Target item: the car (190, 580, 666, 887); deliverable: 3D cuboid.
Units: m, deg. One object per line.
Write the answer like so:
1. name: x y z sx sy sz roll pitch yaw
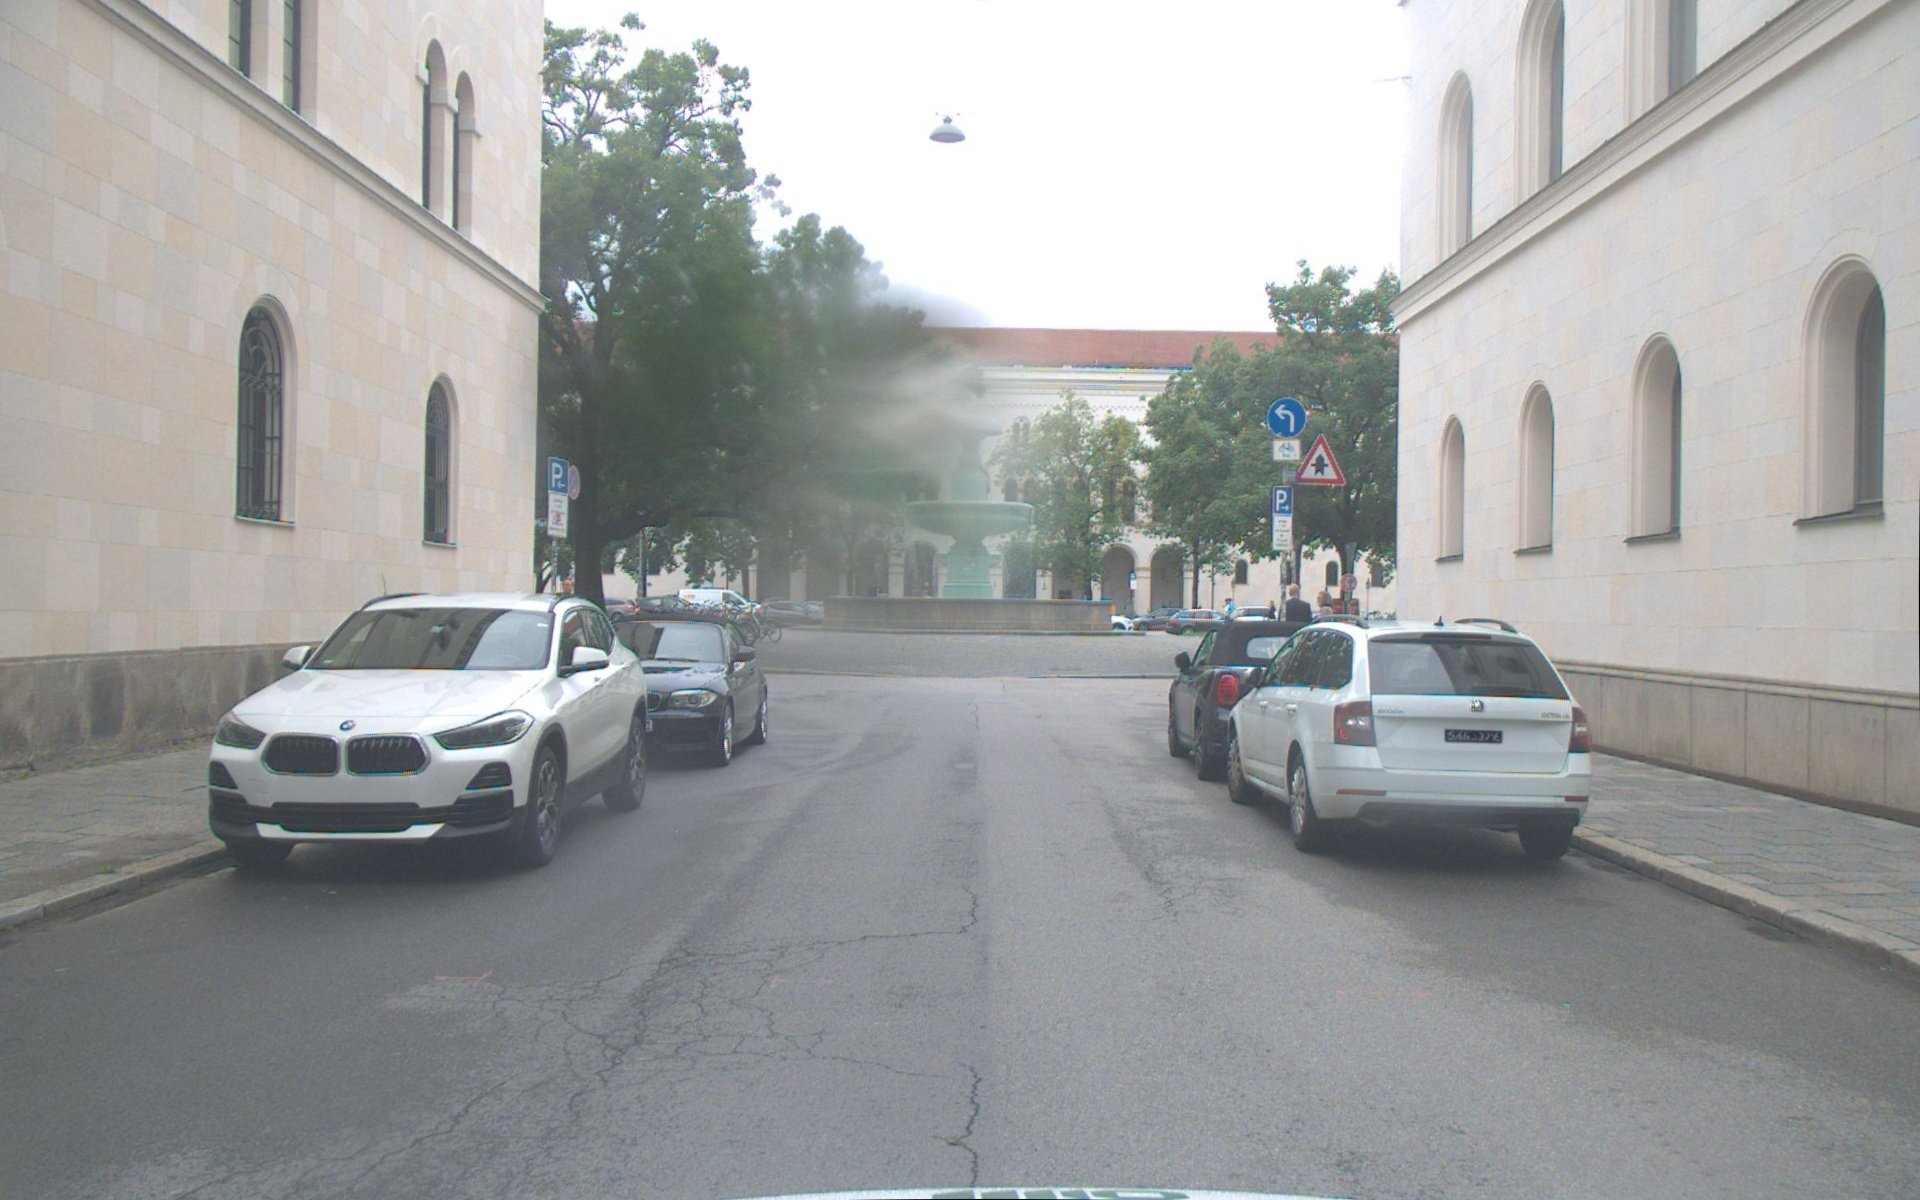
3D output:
1. car: -3.135 0.712 10.687 1.742 1.562 4.211 -1 -1 -1

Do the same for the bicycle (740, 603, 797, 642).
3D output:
1. bicycle: -5.743 0.657 49.645 1.584 1.118 0.617 1 0 11

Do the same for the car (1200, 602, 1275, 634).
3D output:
1. car: 16.295 1.070 97.245 4.015 1.771 1.745 1 0 -3

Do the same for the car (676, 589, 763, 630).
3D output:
1. car: -12.587 0.482 86.678 4.237 2.049 1.824 1 0 1

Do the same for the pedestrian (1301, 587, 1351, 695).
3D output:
1. pedestrian: 5.933 0.658 26.835 0.608 1.711 0.545 2 0 -6

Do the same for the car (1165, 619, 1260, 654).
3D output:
1. car: 12.052 1.739 79.146 4.267 1.551 1.804 0 0 2

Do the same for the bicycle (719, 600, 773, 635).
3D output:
1. bicycle: -6.667 0.541 51.535 1.503 1.037 0.699 1 0 11

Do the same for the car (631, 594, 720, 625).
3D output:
1. car: -13.584 0.442 79.078 3.906 1.400 2.000 0 0 -1

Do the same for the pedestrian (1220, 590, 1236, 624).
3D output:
1. pedestrian: 11.759 0.312 72.464 0.570 1.491 0.548 0 0 24

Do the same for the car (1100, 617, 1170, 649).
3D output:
1. car: 10.288 1.946 97.423 3.906 1.780 1.808 1 0 -1

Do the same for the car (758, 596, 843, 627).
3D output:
1. car: -7.627 0.548 79.263 3.906 1.400 2.000 0 0 -1

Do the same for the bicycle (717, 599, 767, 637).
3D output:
1. bicycle: -6.689 0.549 50.814 1.371 1.118 0.657 1 0 11

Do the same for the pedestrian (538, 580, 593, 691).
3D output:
1. pedestrian: -6.386 0.569 26.803 0.739 1.780 0.689 0 0 -2

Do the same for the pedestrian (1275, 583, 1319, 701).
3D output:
1. pedestrian: 5.352 0.658 26.297 0.628 1.840 0.489 1 0 6

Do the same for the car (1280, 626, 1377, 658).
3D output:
1. car: 17.635 1.997 79.175 4.267 1.443 1.804 0 0 2

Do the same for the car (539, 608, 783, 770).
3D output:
1. car: -2.888 0.811 16.838 1.663 1.417 4.211 -1 -1 0

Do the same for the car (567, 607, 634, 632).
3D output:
1. car: -21.159 1.147 97.405 3.597 1.400 1.602 0 0 -1

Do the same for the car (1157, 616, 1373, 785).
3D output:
1. car: 2.915 0.902 16.461 1.508 1.451 3.772 1 0 1

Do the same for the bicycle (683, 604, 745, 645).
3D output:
1. bicycle: -7.027 0.706 47.237 1.584 1.118 0.699 1 0 11

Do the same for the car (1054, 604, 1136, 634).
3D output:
1. car: 6.451 0.899 79.356 3.904 1.427 1.825 0 0 2

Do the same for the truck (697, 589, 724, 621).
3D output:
1. truck: -20.228 0.379 134.019 1.958 2.532 3.990 1 0 -11

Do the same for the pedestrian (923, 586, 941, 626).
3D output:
1. pedestrian: -1.192 0.248 69.881 0.735 1.668 0.710 0 0 0

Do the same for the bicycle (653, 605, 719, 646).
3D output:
1. bicycle: -7.451 0.685 44.990 1.584 1.054 0.699 1 0 11

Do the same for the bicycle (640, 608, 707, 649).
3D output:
1. bicycle: -7.640 0.751 44.140 1.584 1.054 0.699 1 0 11

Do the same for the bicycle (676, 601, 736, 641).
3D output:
1. bicycle: -7.421 0.602 48.344 1.584 1.118 0.699 1 0 11

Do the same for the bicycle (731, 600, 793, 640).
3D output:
1. bicycle: -5.854 0.583 48.947 1.673 1.118 0.699 1 0 11

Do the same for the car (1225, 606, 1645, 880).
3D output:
1. car: 3.064 0.827 11.629 1.752 1.502 4.313 2 0 1

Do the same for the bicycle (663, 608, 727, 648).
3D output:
1. bicycle: -7.325 0.762 45.733 1.584 1.054 0.699 1 0 11

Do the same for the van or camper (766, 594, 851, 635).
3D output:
1. van or camper: -8.232 0.787 90.145 4.488 2.049 1.999 -2 -1 -3

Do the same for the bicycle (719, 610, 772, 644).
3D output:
1. bicycle: -6.797 0.842 52.438 1.503 1.037 0.699 1 0 11

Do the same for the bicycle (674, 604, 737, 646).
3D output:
1. bicycle: -7.146 0.693 46.500 1.584 1.118 0.699 1 0 11
